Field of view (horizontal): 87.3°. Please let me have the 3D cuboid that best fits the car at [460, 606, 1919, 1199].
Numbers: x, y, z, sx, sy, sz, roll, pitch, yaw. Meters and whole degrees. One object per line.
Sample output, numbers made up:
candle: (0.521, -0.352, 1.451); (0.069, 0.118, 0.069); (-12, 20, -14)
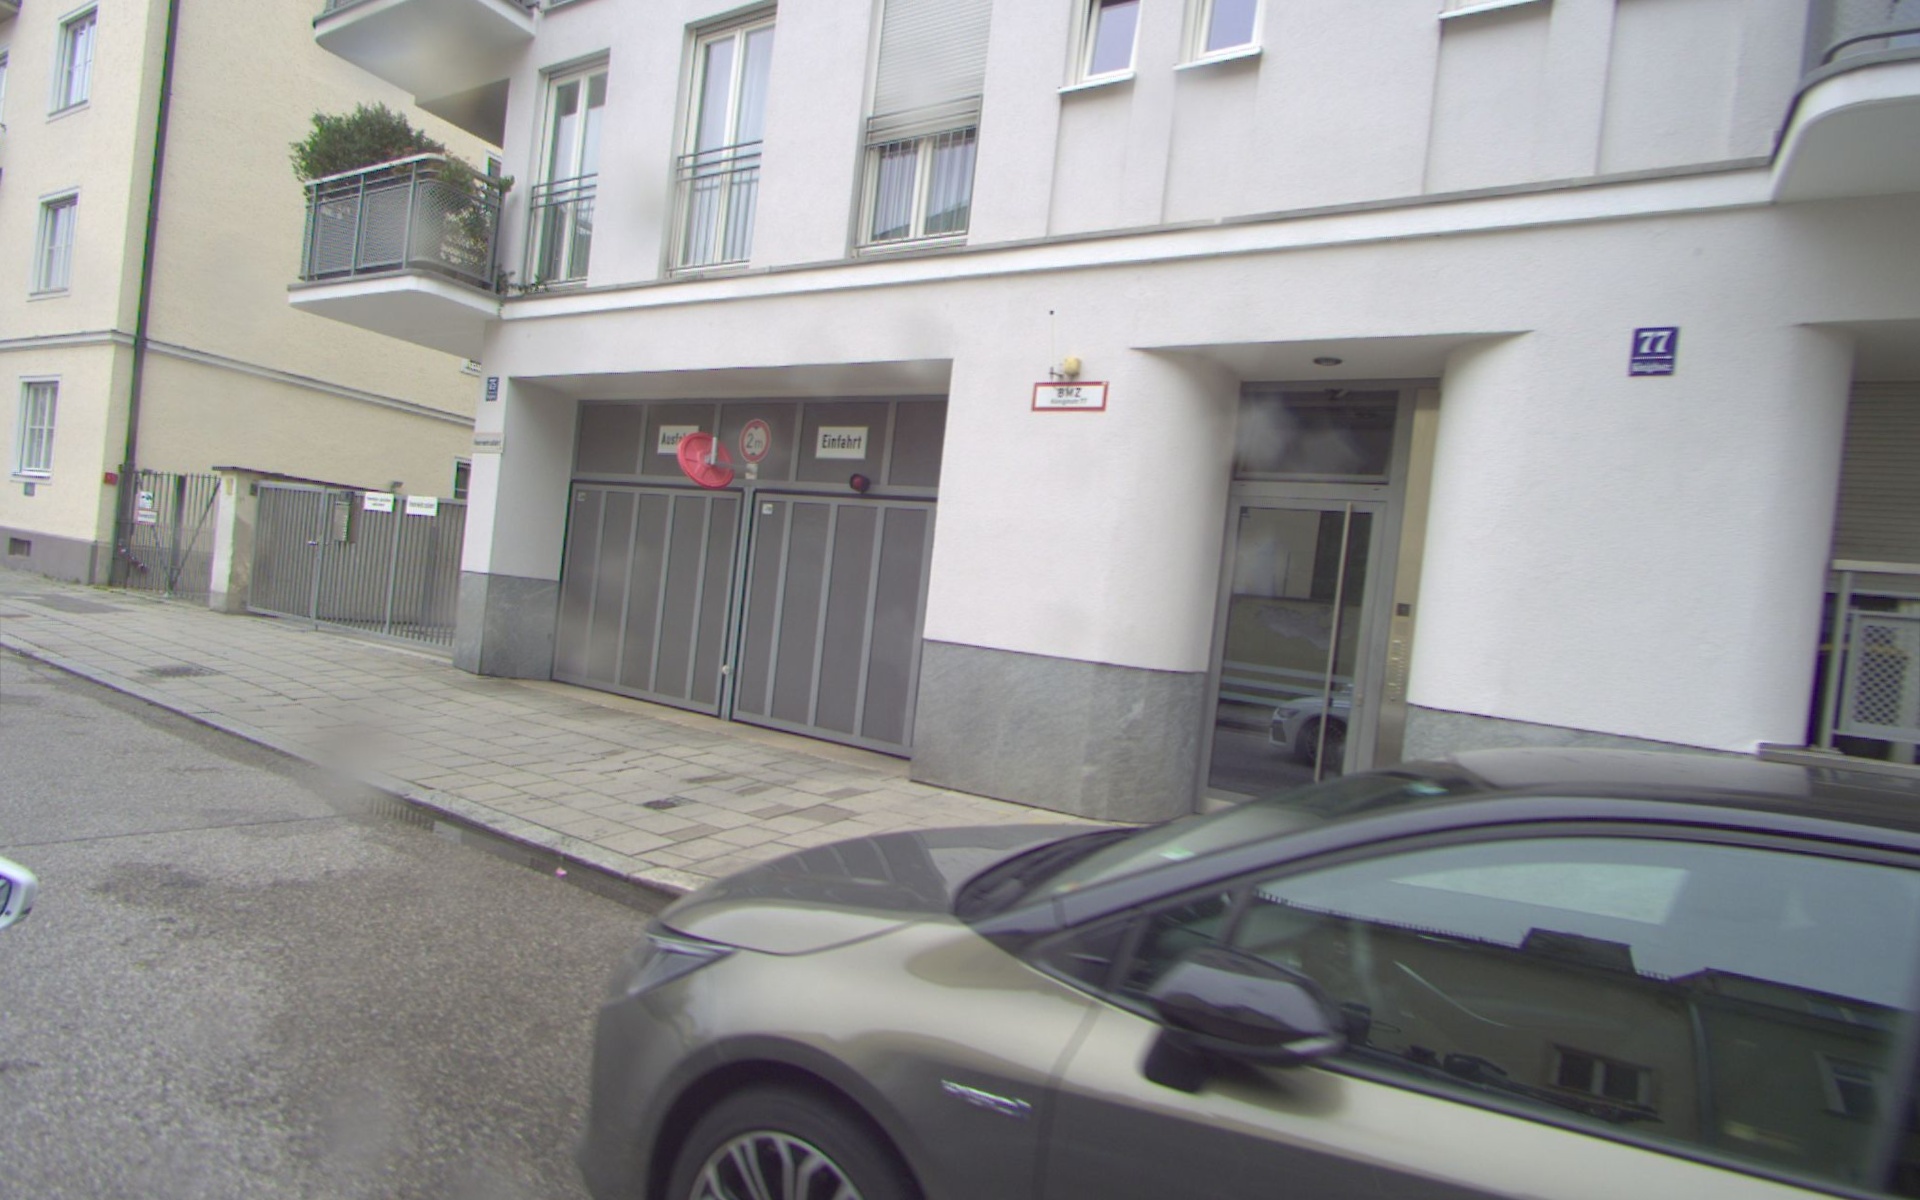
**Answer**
car: (1.117, 0.968, 2.032); (4.008, 1.425, 1.767); (6, -1, 29)
